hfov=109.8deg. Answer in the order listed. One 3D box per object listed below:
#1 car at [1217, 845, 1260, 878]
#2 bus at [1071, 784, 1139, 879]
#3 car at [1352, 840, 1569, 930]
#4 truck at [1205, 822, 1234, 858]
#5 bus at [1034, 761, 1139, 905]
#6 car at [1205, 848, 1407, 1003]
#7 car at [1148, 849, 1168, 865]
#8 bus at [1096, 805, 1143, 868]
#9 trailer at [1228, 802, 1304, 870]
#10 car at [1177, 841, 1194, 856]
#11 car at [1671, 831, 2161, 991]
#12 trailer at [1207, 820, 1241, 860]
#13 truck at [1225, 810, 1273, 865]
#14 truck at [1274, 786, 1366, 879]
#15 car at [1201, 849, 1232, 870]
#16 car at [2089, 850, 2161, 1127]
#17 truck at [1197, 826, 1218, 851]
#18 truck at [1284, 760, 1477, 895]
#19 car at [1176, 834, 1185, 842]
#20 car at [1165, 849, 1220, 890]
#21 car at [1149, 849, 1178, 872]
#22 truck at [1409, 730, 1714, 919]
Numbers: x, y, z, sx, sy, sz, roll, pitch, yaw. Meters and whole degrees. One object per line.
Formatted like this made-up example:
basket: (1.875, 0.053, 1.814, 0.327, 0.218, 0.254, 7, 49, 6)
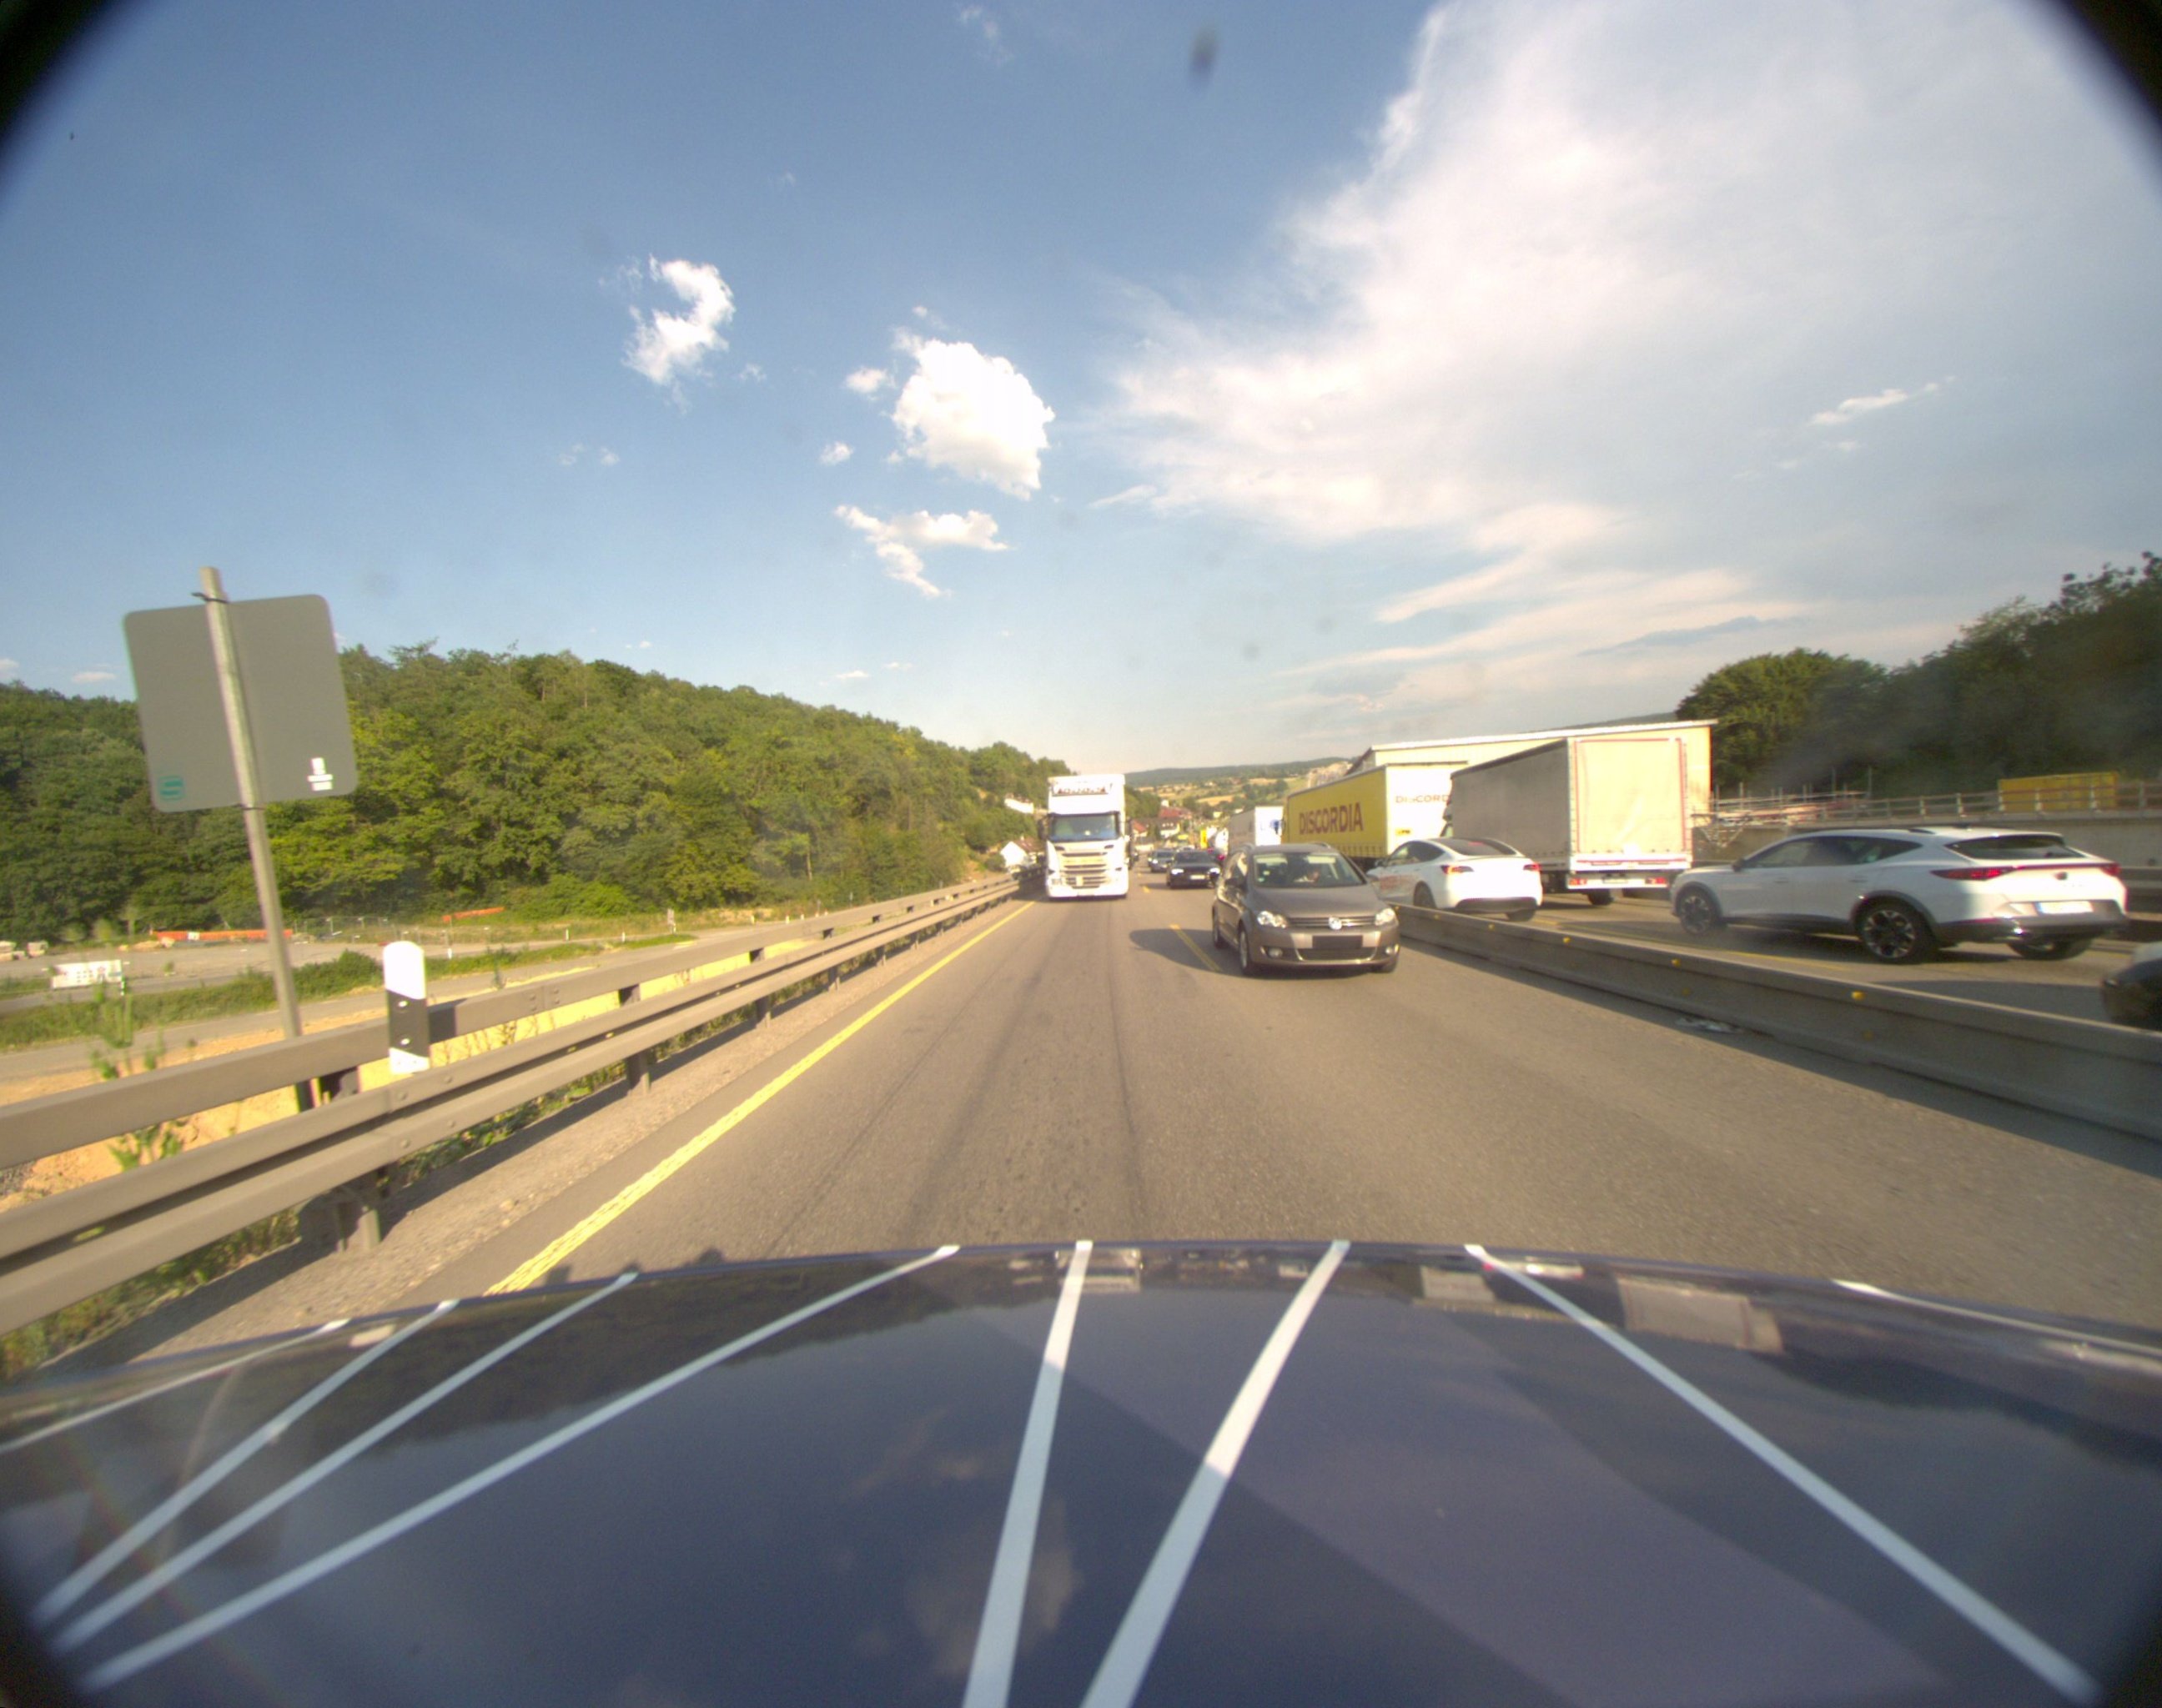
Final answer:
car: (8.006, 0.322, 38.932, 1.657, 1.514, 4.288, -2, 1, 6)
bus: (1.540, -1.109, 41.980, 2.984, 4.553, 9.971, -1, 0, 6)
car: (7.242, 0.542, 15.167, 2.063, 1.478, 4.727, 1, 0, 2)
truck: (15.397, -1.576, 84.903, 2.605, 3.865, 6.204, -1, 1, 6)
bus: (0.571, -0.697, 27.359, 2.634, 4.077, 11.317, -1, 1, 6)
car: (2.712, 0.752, 10.100, 1.687, 1.565, 4.100, -2, 1, 4)
car: (6.572, 0.263, 65.321, 1.627, 1.239, 4.001, -2, 1, 5)
bus: (3.307, -1.329, 62.117, 2.983, 4.553, 10.908, -1, 0, 7)
trailer: (12.499, -1.202, 52.747, 2.864, 4.013, 13.973, -1, 1, 5)
car: (13.171, -0.700, 95.632, 1.866, 1.899, 4.001, -1, 1, 5)
car: (9.772, 0.539, 9.465, 1.768, 1.514, 4.002, -2, 1, 1)
trailer: (14.920, -1.501, 79.914, 2.602, 3.858, 10.580, -1, 1, 6)
truck: (13.038, -1.302, 59.404, 2.850, 4.013, 6.102, -1, 1, 5)
truck: (11.349, -1.011, 36.636, 2.719, 4.065, 6.101, -1, 1, 3)
car: (10.029, 0.393, 56.620, 1.811, 1.417, 4.674, -2, 1, 5)
car: (6.801, 0.688, 2.440, 1.786, 1.513, 4.000, -3, 0, 1)
truck: (20.219, -2.526, 121.604, 2.899, 3.689, 9.492, -1, 1, 8)
truck: (11.052, -0.916, 30.302, 2.714, 4.065, 14.154, -1, 1, 3)
car: (27.503, -4.398, 210.460, 1.822, 1.988, 4.755, 0, 0, 0)
car: (4.254, 0.551, 29.451, 1.866, 1.391, 4.001, -1, 1, 5)
car: (5.372, 0.407, 49.626, 1.698, 1.390, 4.002, -3, 0, 6)
truck: (10.612, -0.580, 17.984, 2.453, 3.443, 7.616, -2, 1, 1)
